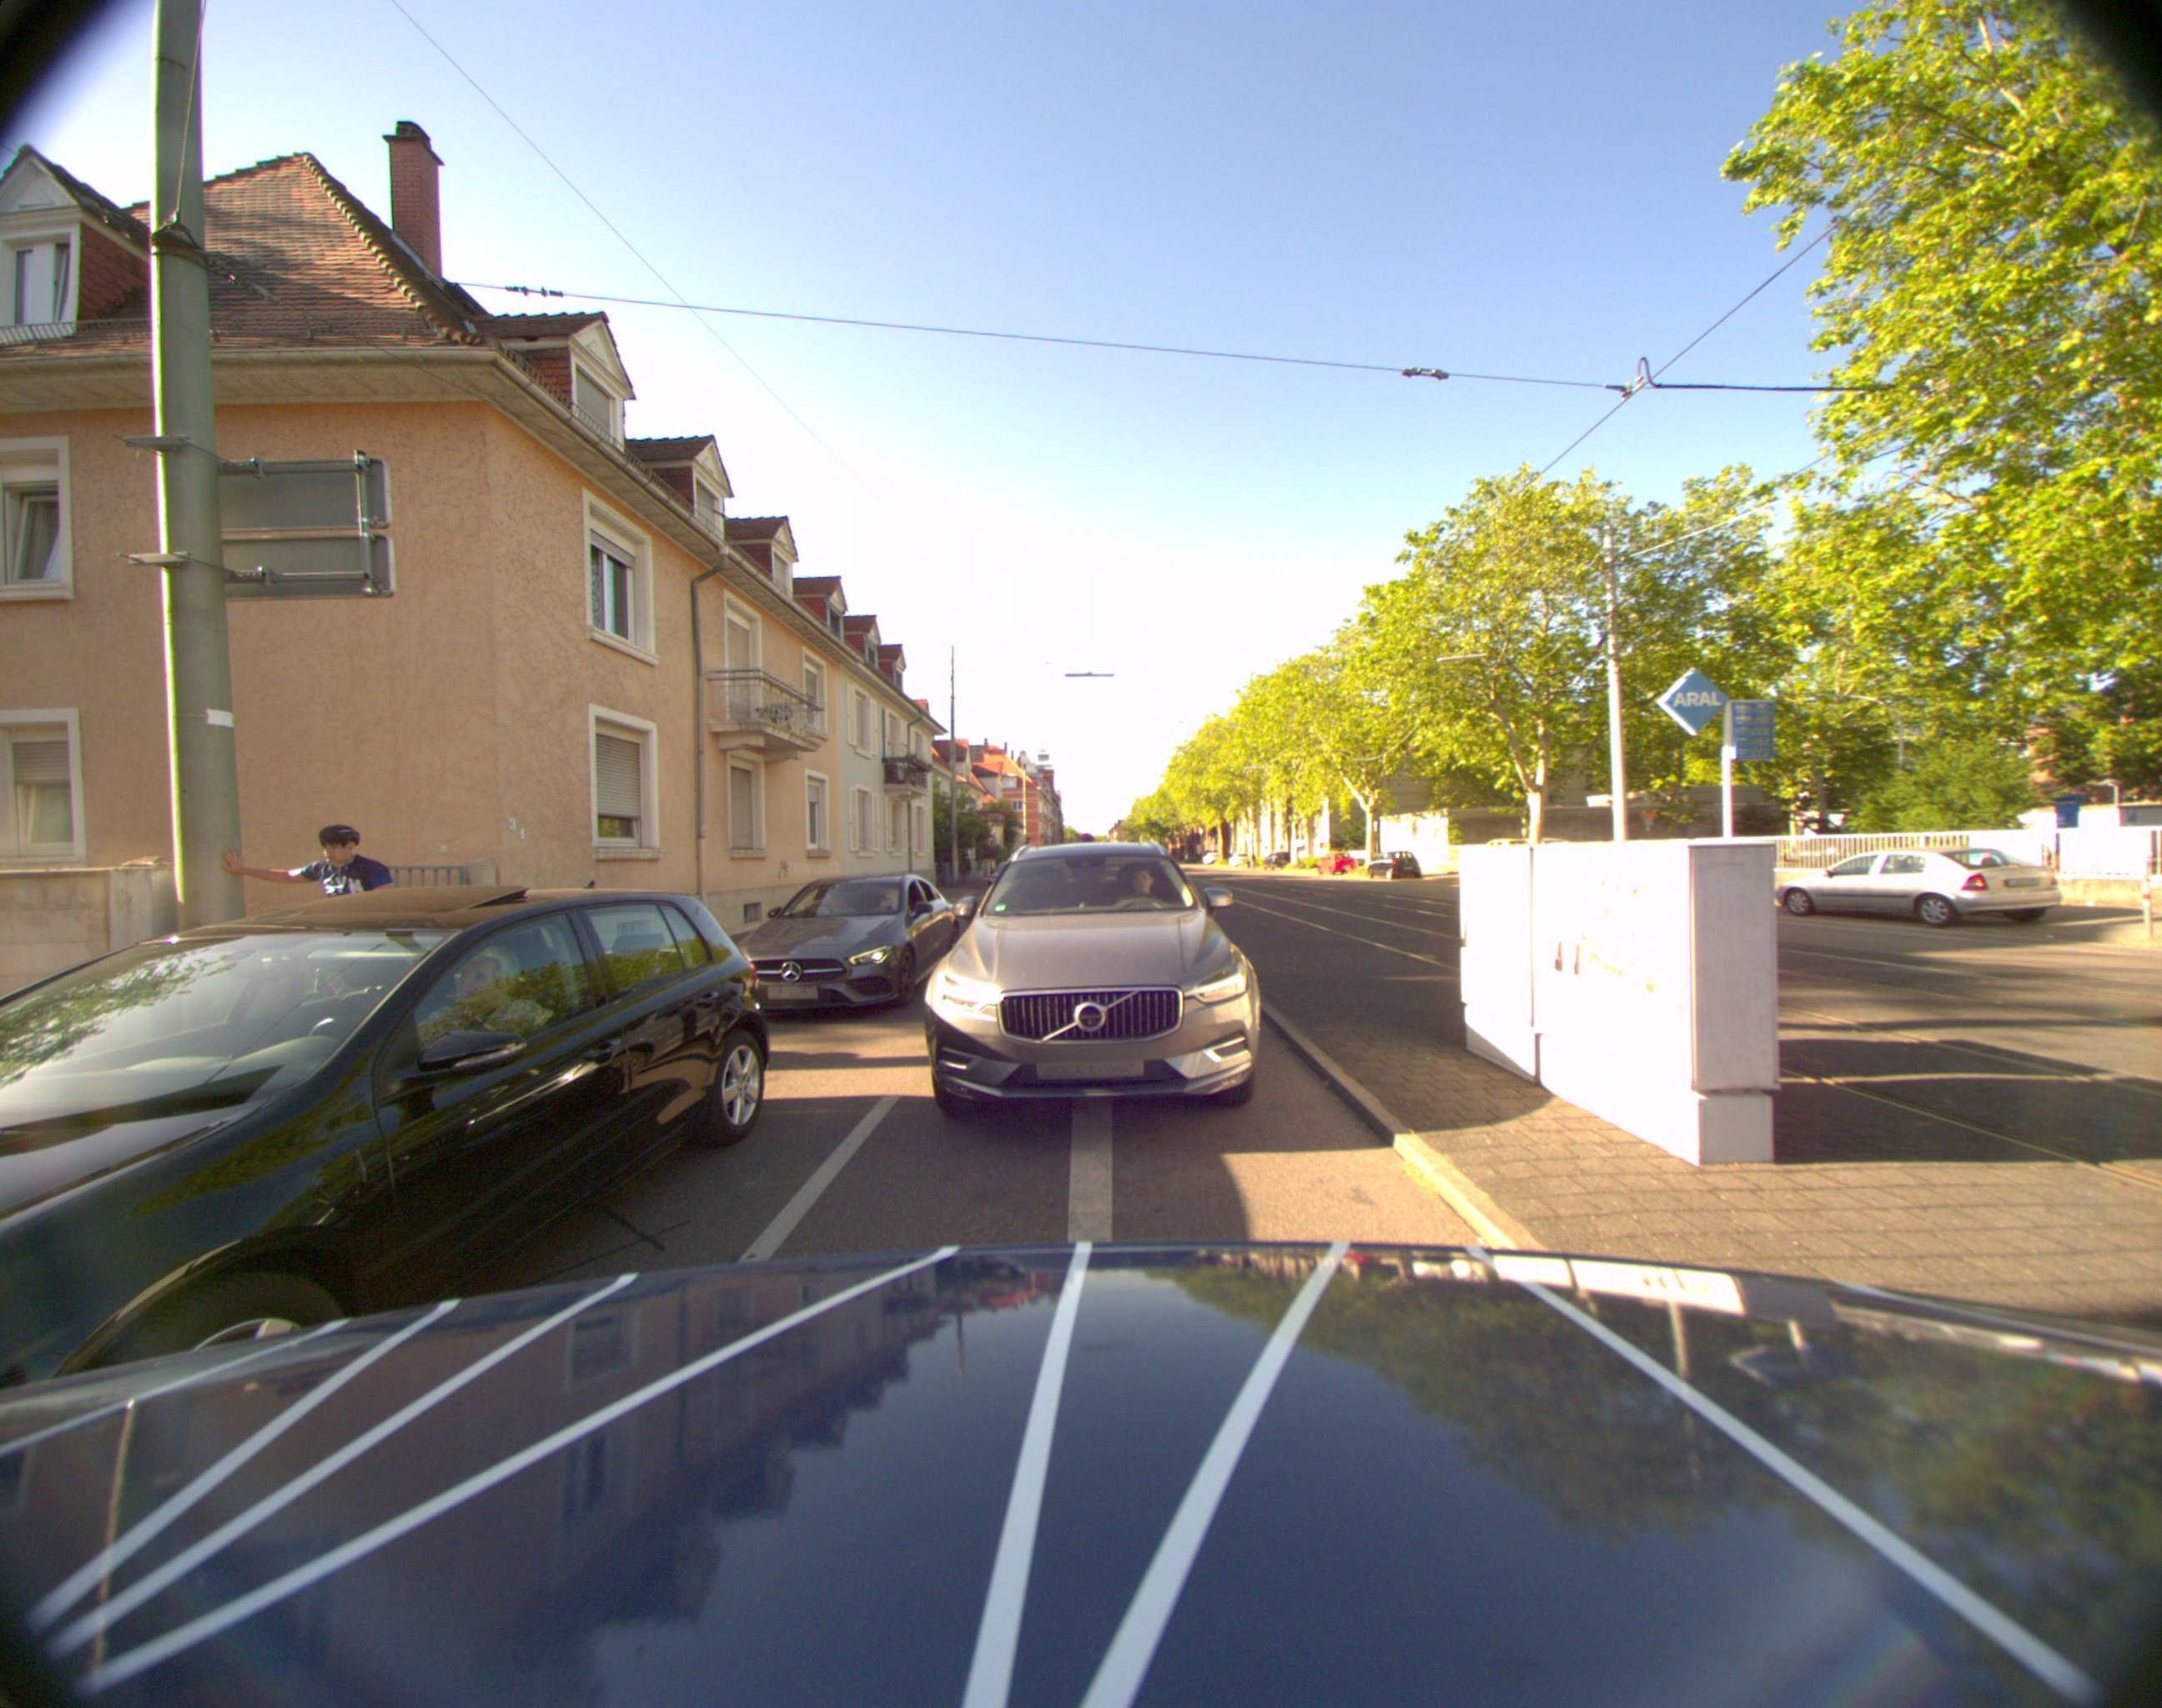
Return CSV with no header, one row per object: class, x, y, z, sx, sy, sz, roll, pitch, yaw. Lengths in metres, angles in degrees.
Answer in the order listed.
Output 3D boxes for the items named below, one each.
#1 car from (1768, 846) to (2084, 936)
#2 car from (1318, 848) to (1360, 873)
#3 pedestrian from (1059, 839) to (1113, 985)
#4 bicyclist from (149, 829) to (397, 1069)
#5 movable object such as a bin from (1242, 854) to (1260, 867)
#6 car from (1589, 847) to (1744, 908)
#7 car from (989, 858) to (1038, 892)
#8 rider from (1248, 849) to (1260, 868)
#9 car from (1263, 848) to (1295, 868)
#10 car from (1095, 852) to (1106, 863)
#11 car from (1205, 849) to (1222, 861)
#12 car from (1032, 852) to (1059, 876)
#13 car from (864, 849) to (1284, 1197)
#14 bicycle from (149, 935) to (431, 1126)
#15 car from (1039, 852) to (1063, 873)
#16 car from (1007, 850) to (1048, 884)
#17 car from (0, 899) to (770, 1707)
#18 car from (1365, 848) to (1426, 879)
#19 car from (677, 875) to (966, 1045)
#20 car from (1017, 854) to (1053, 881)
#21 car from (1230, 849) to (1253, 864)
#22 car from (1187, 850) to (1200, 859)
car,16.197,0.631,14.938,1.687,1.358,3.989,-6,0,1
car,16.931,0.397,50.054,1.661,1.486,3.377,-4,1,3
pedestrian,0.070,0.733,9.892,0.609,1.832,0.599,-2,1,1
bicyclist,-6.071,0.687,5.774,1.021,1.684,0.729,2,0,-7
movable object such as a bin,14.914,0.582,66.842,1.178,1.097,1.835,-2,1,1
car,16.363,0.601,21.472,1.619,1.436,3.606,-4,1,3
car,-3.234,0.966,37.125,1.825,1.422,4.334,-2,1,1
rider,14.883,0.367,65.503,0.725,1.639,1.106,-2,1,1
car,17.159,0.332,65.948,1.754,1.582,3.878,-4,1,3
car,3.192,0.553,124.906,1.851,1.640,3.999,-2,1,1
car,17.569,0.105,100.667,1.661,1.452,3.730,-4,1,3
car,-2.786,0.776,60.898,1.825,1.701,4.334,-2,1,1
car,0.119,0.800,5.764,1.924,1.579,4.387,-2,1,4
bicycle,-5.891,1.254,5.806,0.556,1.069,1.624,2,0,-7
car,-2.599,0.698,67.265,1.825,1.701,4.334,-2,1,1
car,-2.910,0.691,42.379,1.825,1.701,4.334,-2,1,1
car,-2.803,1.045,2.627,1.717,1.430,3.990,-2,1,1
car,16.835,0.449,40.839,1.723,1.436,3.769,-4,1,3
car,-2.713,1.033,9.186,1.825,1.422,4.490,-2,-1,1
car,-2.791,0.799,47.119,1.825,1.424,4.334,-2,1,1
car,17.615,0.249,83.453,1.754,1.532,3.878,-4,1,3
car,18.548,0.063,125.543,1.661,1.452,3.730,-4,1,3
